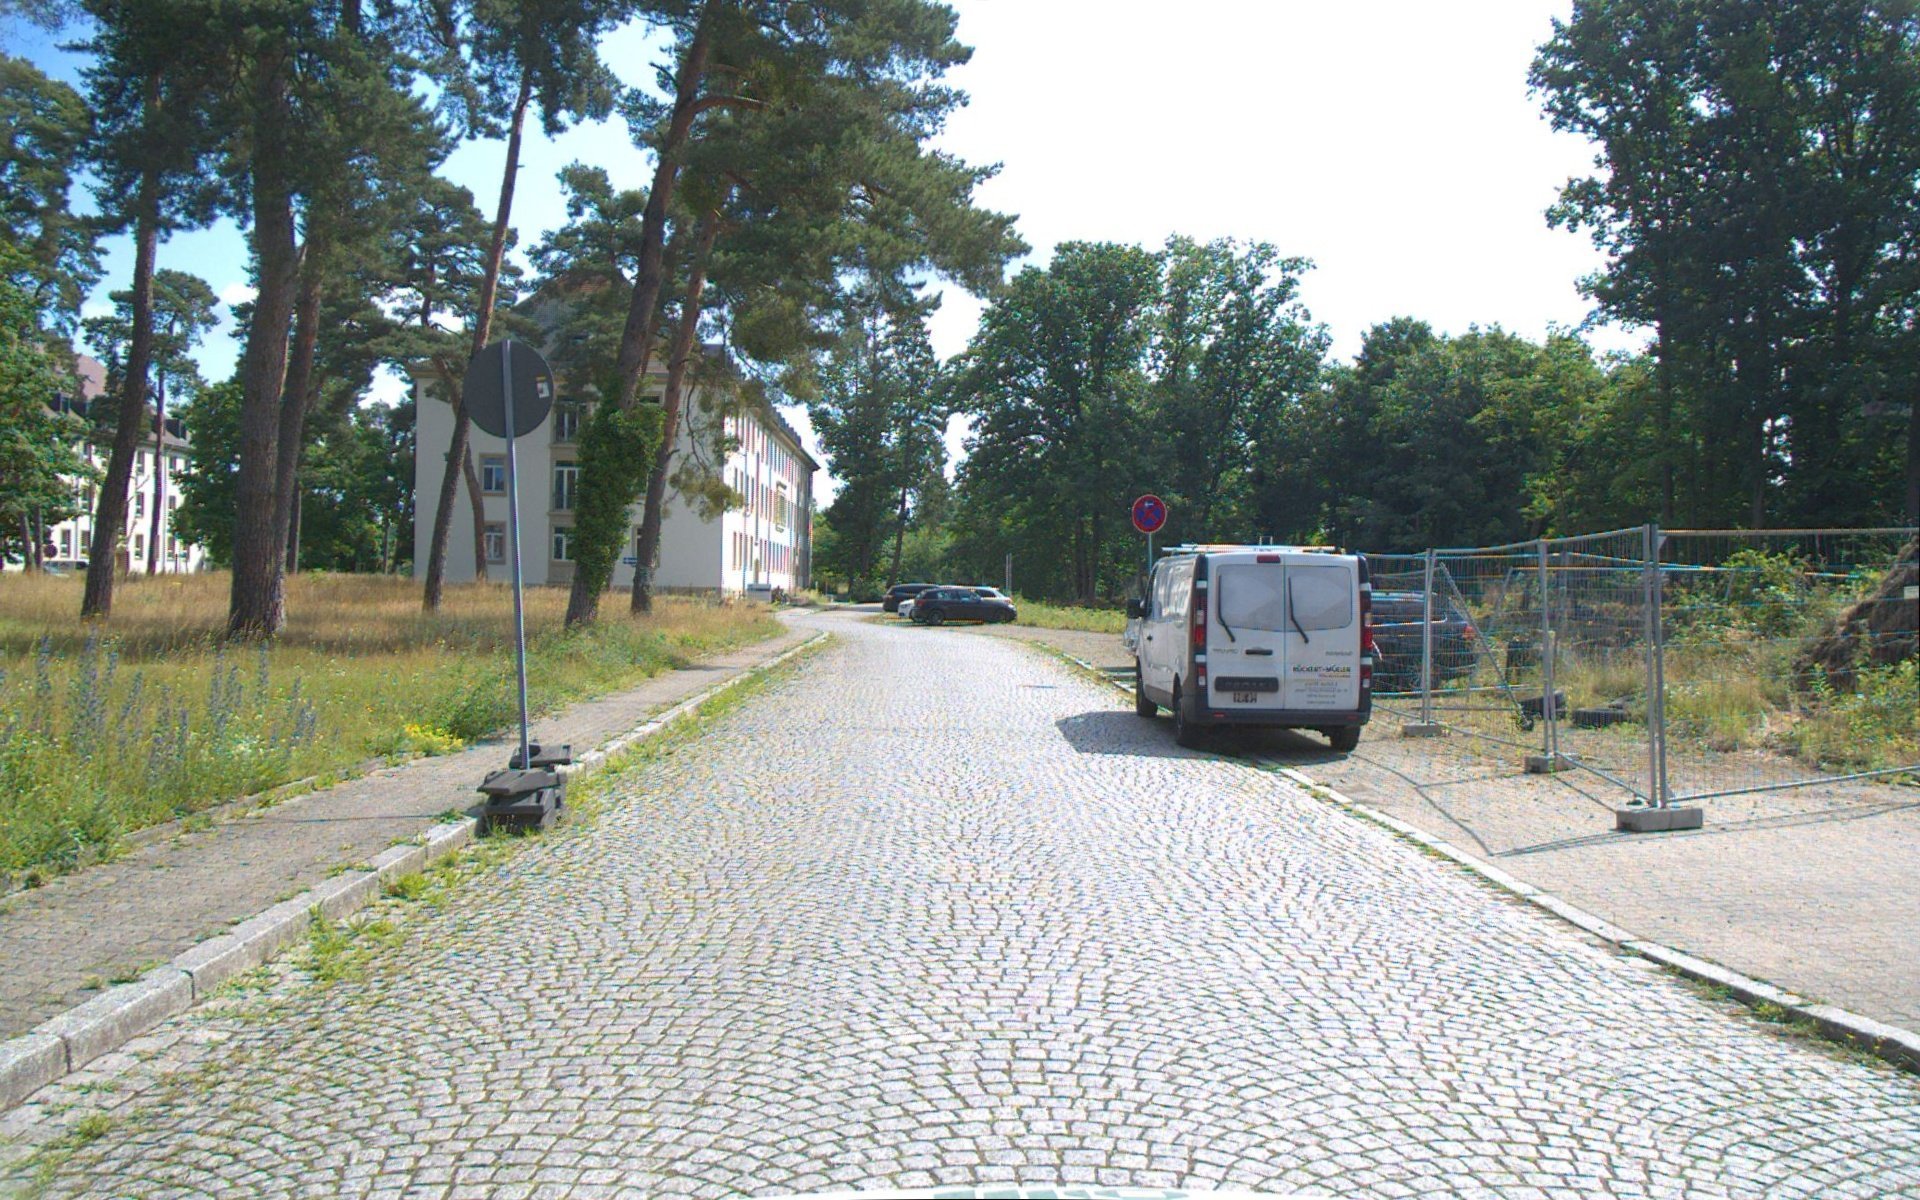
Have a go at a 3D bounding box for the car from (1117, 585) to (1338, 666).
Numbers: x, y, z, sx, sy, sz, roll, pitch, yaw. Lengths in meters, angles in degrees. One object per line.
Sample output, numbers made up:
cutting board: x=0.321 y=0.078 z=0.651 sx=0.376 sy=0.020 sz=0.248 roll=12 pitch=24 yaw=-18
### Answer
car: x=5.175 y=0.480 z=32.294 sx=3.962 sy=1.489 sz=1.703 roll=-1 pitch=0 yaw=-4

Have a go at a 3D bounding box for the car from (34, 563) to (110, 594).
car: x=-57.901 y=-1.397 z=107.861 sx=3.976 sy=2.026 sz=1.713 roll=1 pitch=0 yaw=-1

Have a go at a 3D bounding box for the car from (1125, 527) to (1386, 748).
car: x=3.098 y=0.346 z=18.594 sx=1.875 sy=2.089 sz=5.678 roll=0 pitch=0 yaw=0

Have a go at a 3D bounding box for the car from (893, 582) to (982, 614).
car: x=-1.116 y=-0.078 z=81.563 sx=4.310 sy=1.510 sz=1.765 roll=-1 pitch=0 yaw=-3

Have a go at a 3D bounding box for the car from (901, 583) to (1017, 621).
car: x=-0.072 y=0.076 z=68.931 sx=4.765 sy=1.498 sz=1.873 roll=-1 pitch=1 yaw=-3

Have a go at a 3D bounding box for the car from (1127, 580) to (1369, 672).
car: x=5.030 y=0.436 z=29.226 sx=3.908 sy=1.533 sz=1.745 roll=-1 pitch=0 yaw=-4

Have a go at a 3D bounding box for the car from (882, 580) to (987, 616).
car: x=-1.187 y=-0.089 z=76.246 sx=4.756 sy=1.580 sz=1.879 roll=-1 pitch=0 yaw=-3

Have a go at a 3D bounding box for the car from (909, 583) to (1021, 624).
car: x=0.181 y=0.134 z=65.761 sx=4.245 sy=1.526 sz=1.826 roll=-1 pitch=1 yaw=-10

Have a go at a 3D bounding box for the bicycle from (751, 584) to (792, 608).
bicycle: x=-10.594 y=-0.226 z=93.033 sx=2.176 sy=1.282 sz=0.623 roll=1 pitch=0 yaw=1

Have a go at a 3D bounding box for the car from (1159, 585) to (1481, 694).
car: x=5.305 y=0.551 z=24.657 sx=4.367 sy=1.501 sz=1.743 roll=-1 pitch=0 yaw=-6
